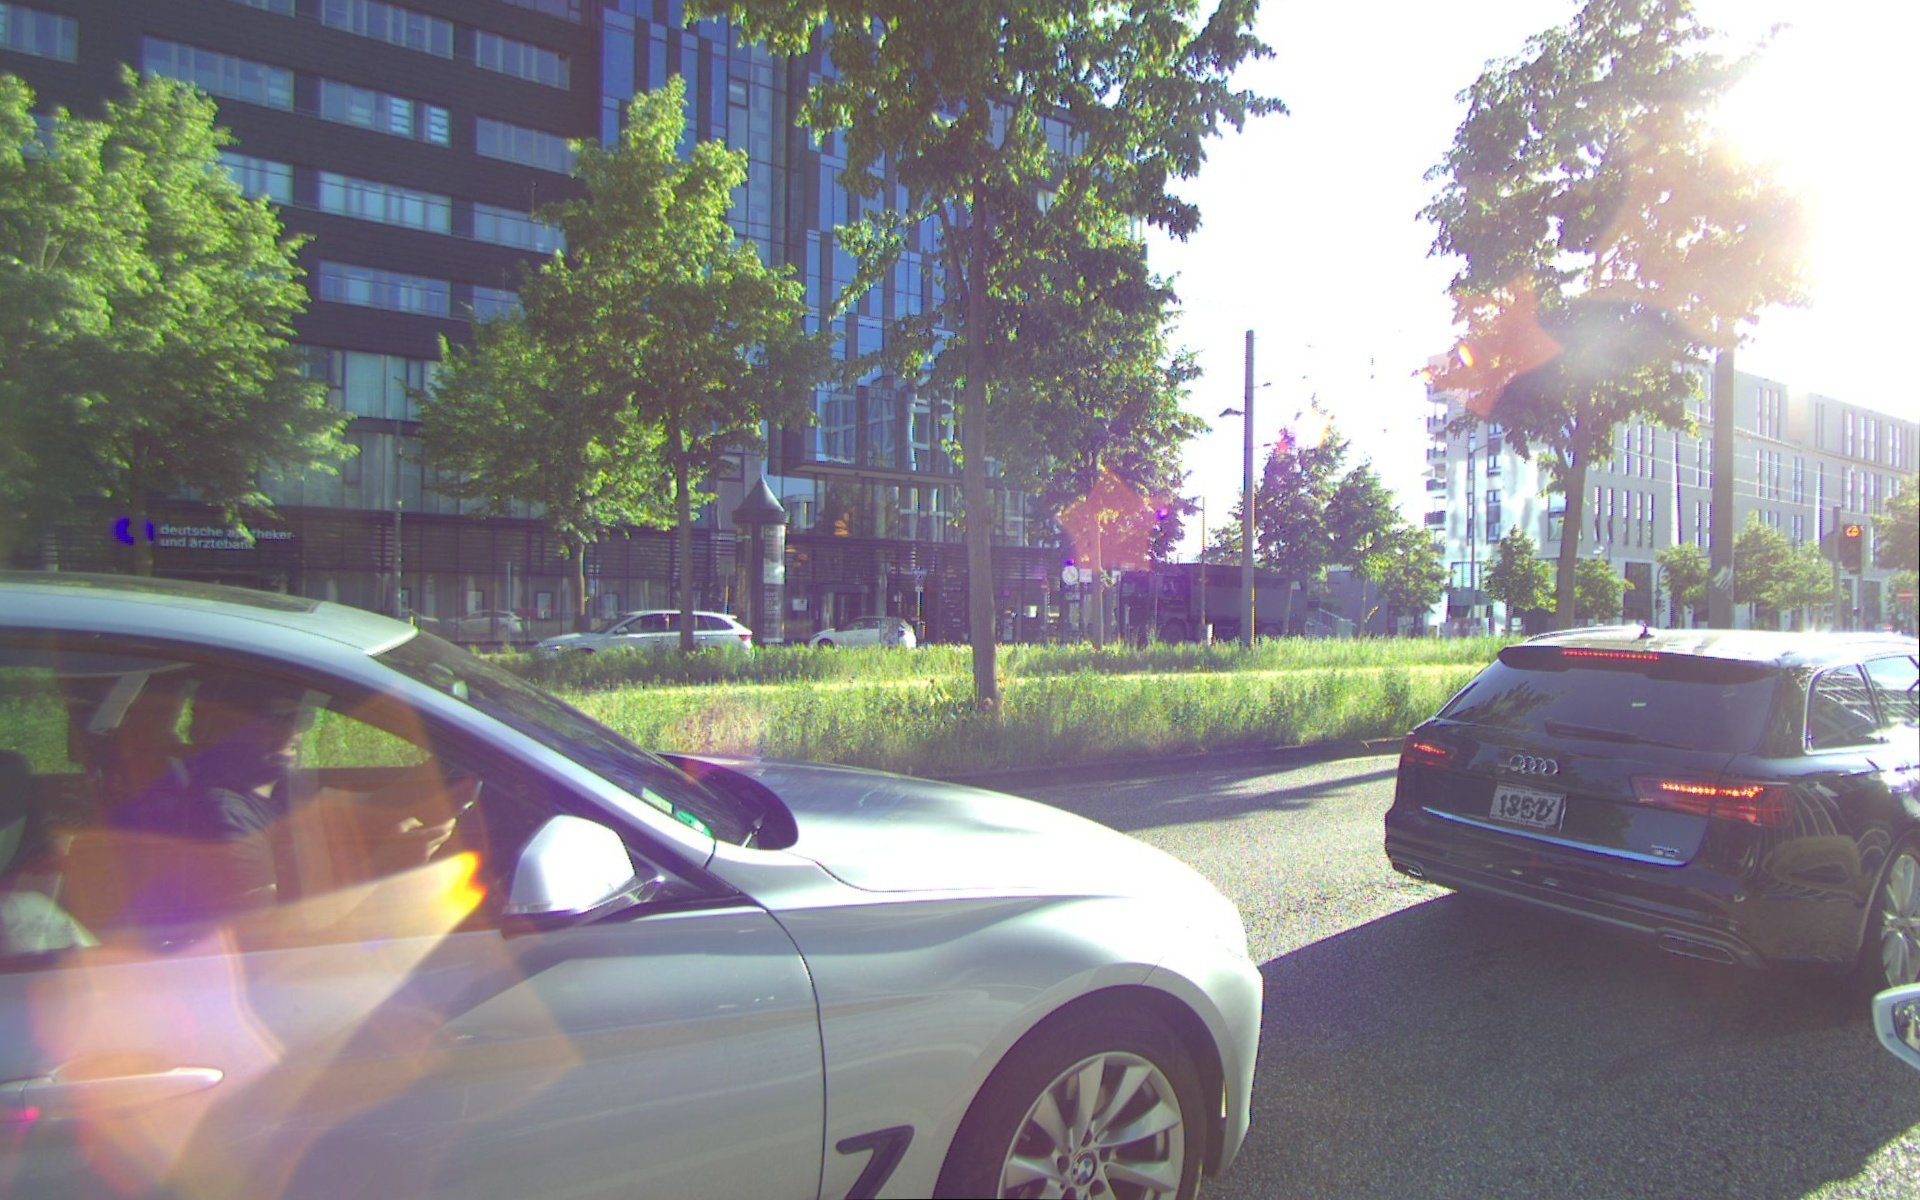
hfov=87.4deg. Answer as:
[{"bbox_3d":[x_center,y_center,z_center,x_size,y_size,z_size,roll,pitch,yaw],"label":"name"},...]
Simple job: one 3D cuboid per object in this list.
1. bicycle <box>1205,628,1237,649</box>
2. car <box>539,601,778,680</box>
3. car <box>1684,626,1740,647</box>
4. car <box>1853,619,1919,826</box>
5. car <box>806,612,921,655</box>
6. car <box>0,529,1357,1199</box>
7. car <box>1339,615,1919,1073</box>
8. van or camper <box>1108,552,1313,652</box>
[{"bbox_3d":[14.042,2.078,54.073,1.826,1.047,0.525,2,0,-31],"label":"bicycle"},{"bbox_3d":[-6.504,0.852,21.801,4.680,1.558,1.845,1,-1,-30],"label":"car"},{"bbox_3d":[52.487,2.565,70.089,4.420,1.360,1.572,2,-1,-31],"label":"car"},{"bbox_3d":[9.232,0.963,8.135,4.064,1.548,1.800,1,-1,-30],"label":"car"},{"bbox_3d":[-3.604,1.235,37.738,3.919,1.525,1.759,1,-1,11],"label":"car"},{"bbox_3d":[-1.510,0.677,1.949,4.689,1.508,1.799,1,-1,-31],"label":"car"},{"bbox_3d":[4.193,0.851,5.199,4.455,1.476,1.799,1,-1,-31],"label":"car"},{"bbox_3d":[11.717,0.205,46.390,10.109,4.248,2.740,2,-1,-30],"label":"van or camper"}]
